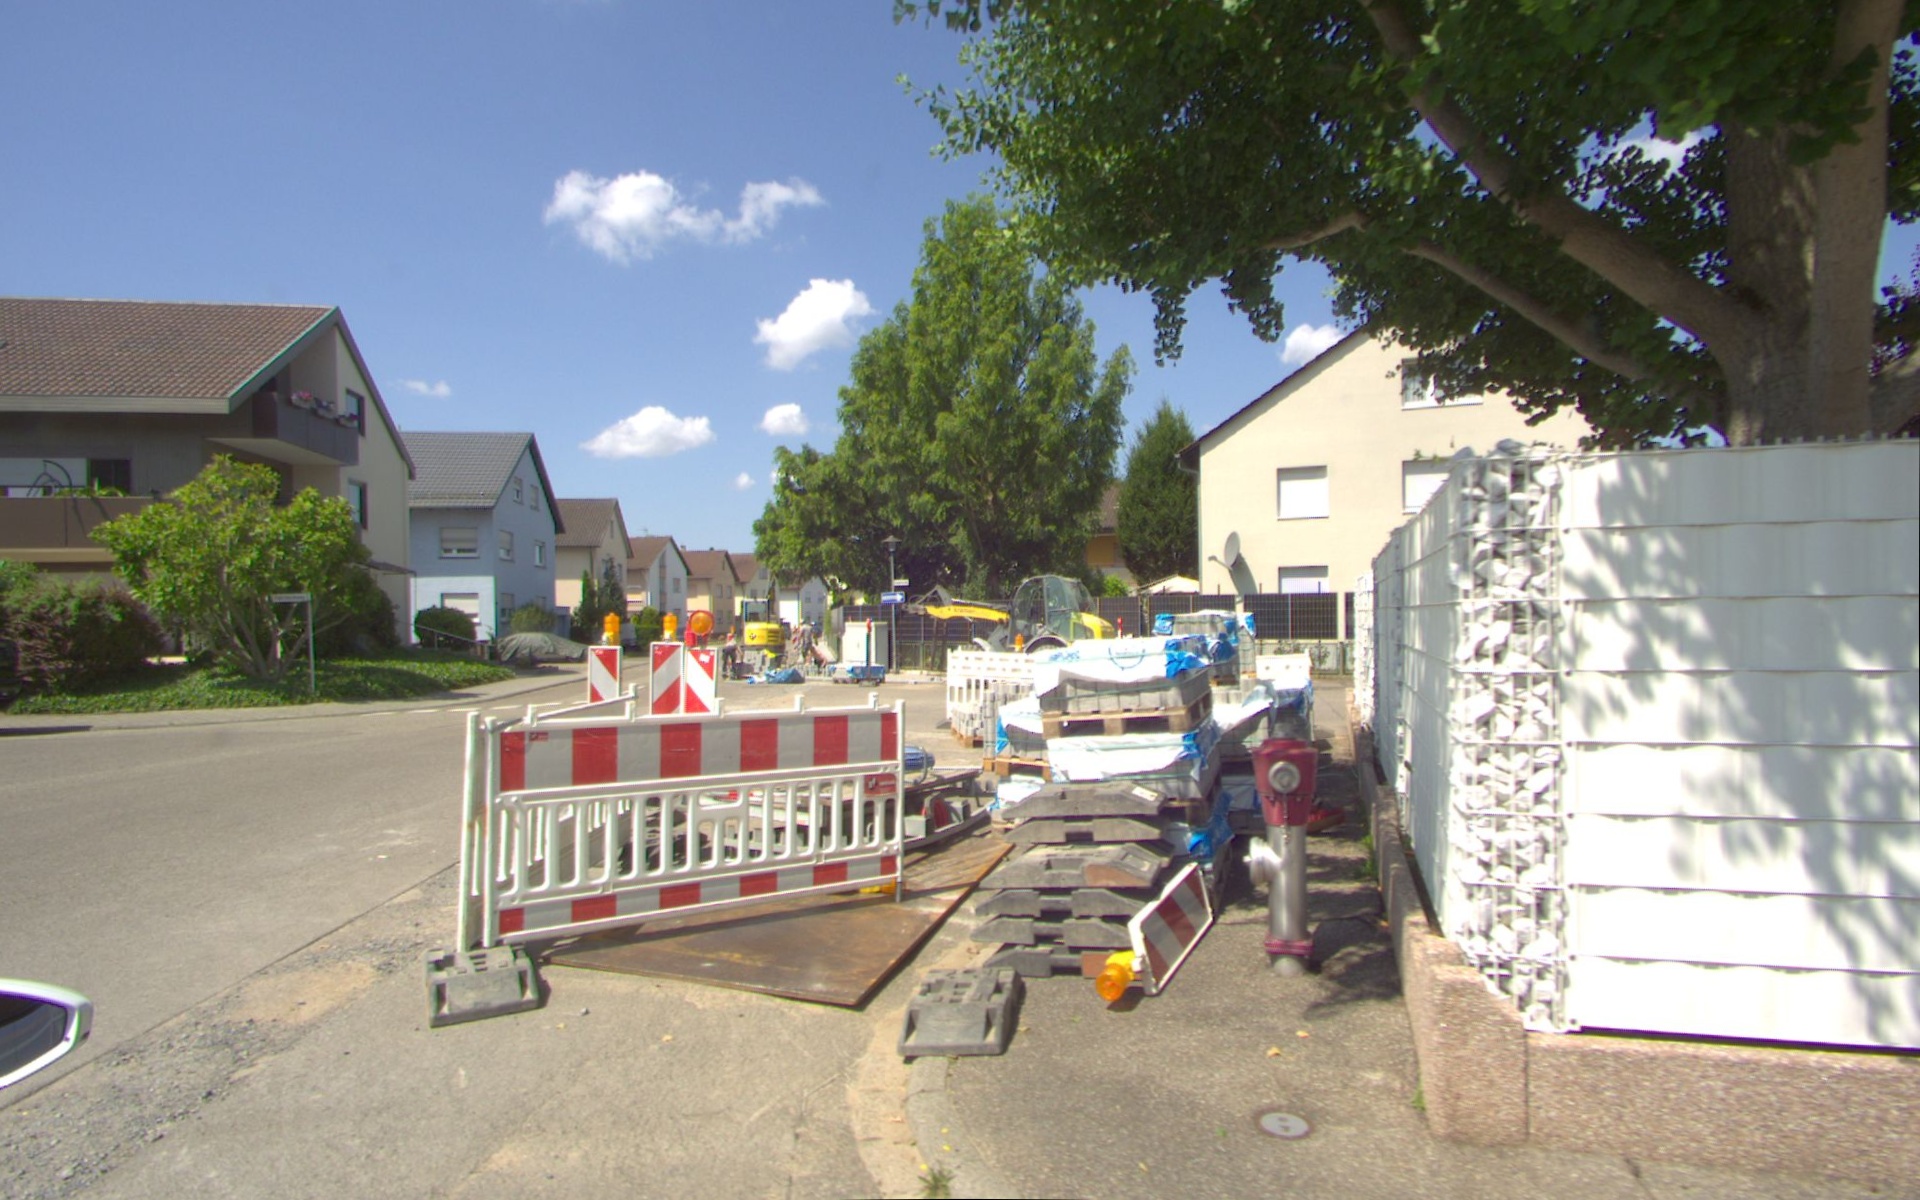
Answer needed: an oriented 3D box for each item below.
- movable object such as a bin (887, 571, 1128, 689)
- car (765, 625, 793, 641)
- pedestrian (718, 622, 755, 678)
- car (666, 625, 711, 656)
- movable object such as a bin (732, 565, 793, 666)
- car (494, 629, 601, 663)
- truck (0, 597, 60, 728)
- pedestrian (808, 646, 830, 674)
[{"bbox_3d":[1.073,0.738,22.943,5.145,2.482,1.996,-2,-3,23],"label":"movable object such as a bin"},{"bbox_3d":[-19.518,3.538,107.914,1.930,1.671,4.000,-1,-1,6],"label":"car"},{"bbox_3d":[-6.330,1.397,28.333,0.526,1.534,0.844,-1,0,40],"label":"pedestrian"},{"bbox_3d":[-14.495,2.125,53.650,1.884,1.562,3.998,0,-1,-9],"label":"car"},{"bbox_3d":[-7.374,0.579,37.711,1.962,3.612,3.814,-1,-1,-7],"label":"movable object such as a bin"},{"bbox_3d":[-17.768,1.973,43.330,3.924,1.359,1.999,0,-1,-10],"label":"car"},{"bbox_3d":[-17.777,1.008,15.250,5.606,2.039,2.371,-1,-3,-11],"label":"truck"},{"bbox_3d":[-4.298,1.824,30.474,0.515,0.803,0.429,-1,0,-31],"label":"pedestrian"}]
